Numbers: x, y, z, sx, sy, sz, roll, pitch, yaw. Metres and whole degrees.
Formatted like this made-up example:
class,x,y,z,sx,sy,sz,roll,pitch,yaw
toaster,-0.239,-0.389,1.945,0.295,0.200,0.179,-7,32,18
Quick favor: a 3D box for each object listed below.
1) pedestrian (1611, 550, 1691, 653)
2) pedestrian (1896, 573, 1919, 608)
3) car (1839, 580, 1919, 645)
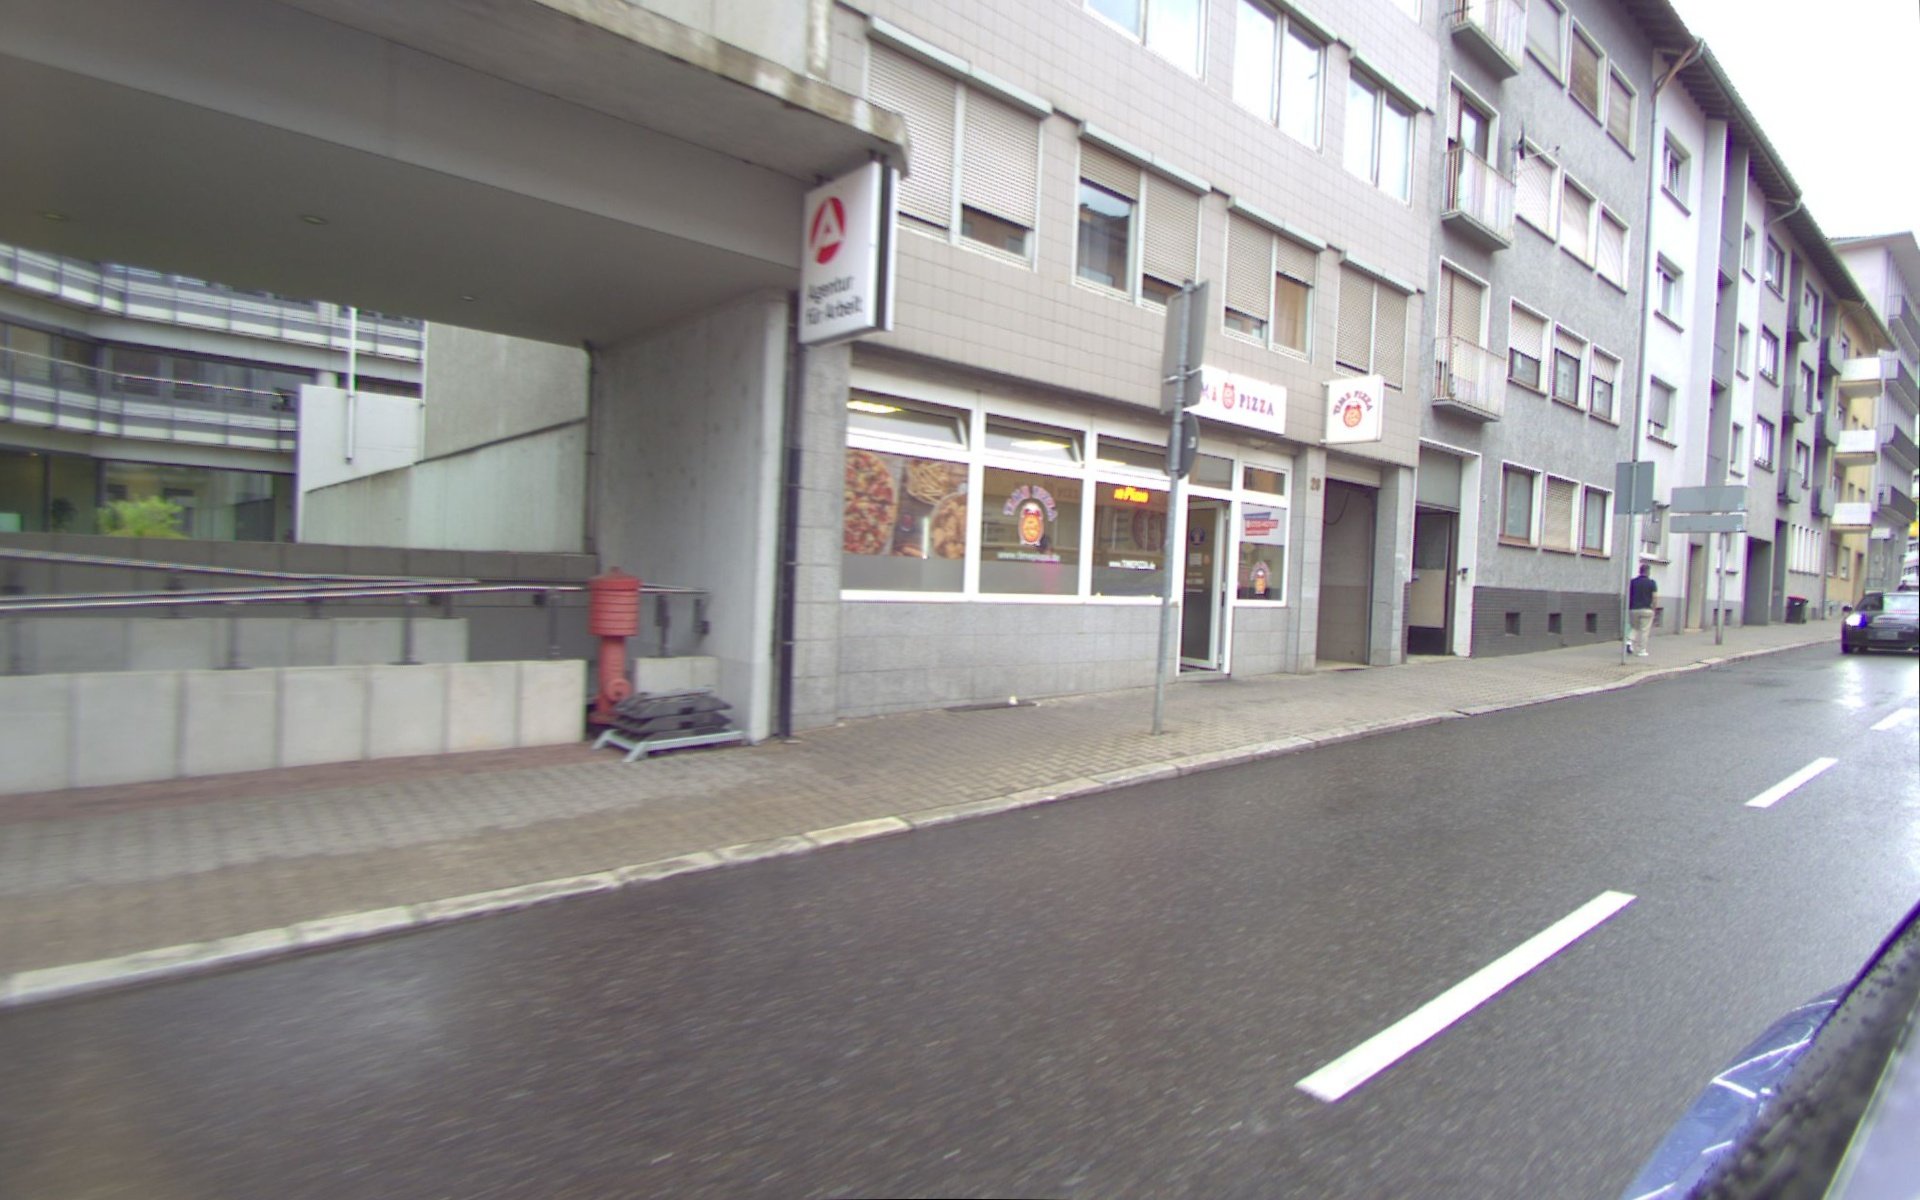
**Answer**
class,x,y,z,sx,sy,sz,roll,pitch,yaw
pedestrian,13.487,0.009,19.754,1.100,1.887,0.871,-1,7,-41
pedestrian,49.408,-0.518,52.544,1.117,1.772,0.946,3,3,44
car,22.417,0.248,23.952,4.144,1.394,1.854,-2,1,-41
